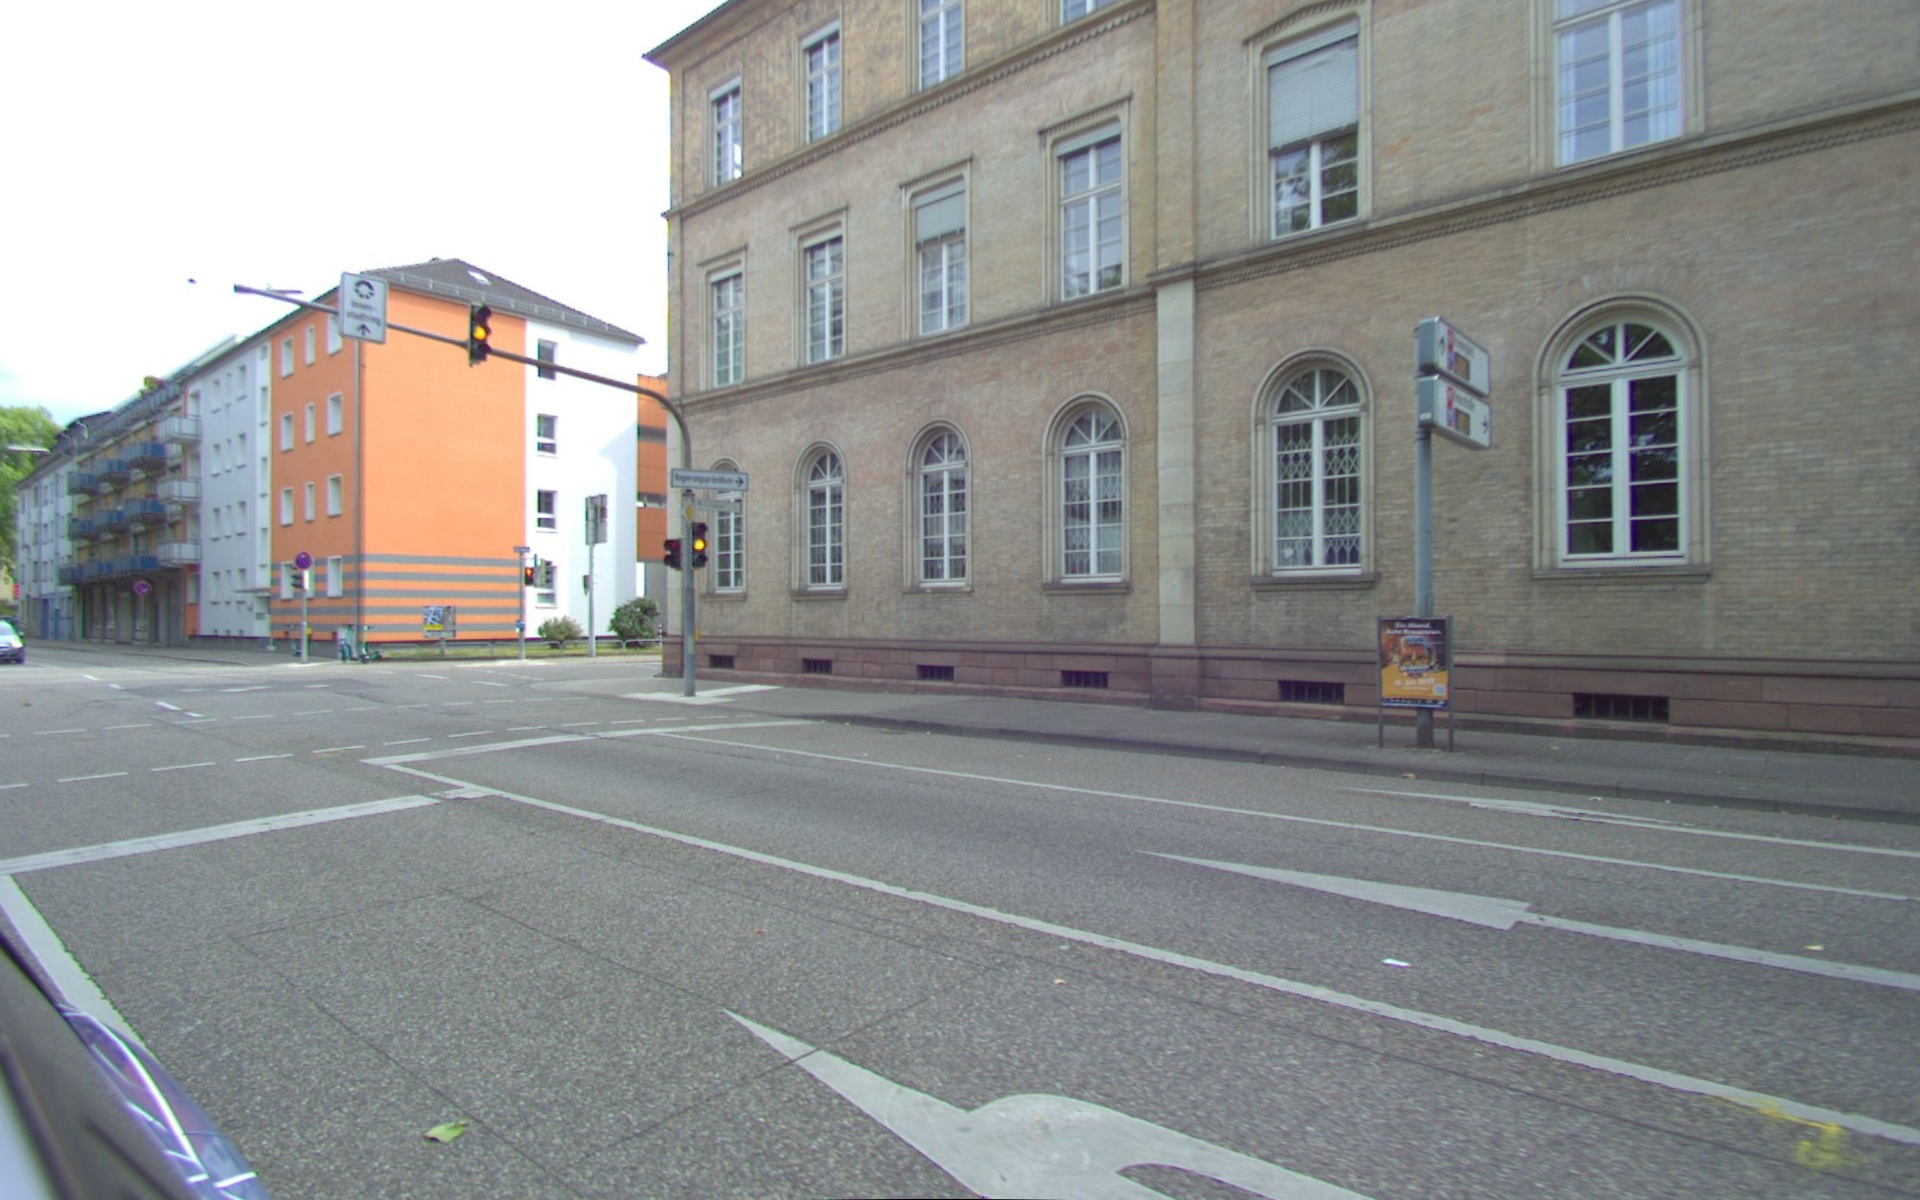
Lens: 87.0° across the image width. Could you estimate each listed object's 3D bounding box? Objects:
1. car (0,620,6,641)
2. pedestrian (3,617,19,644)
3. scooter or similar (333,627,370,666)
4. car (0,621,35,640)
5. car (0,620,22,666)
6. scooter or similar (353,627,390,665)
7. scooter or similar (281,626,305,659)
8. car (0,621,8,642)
[{"bbox_3d":[-93.882,3.001,96.534,1.998,2.029,3.947,-2,0,40],"label":"car"},{"bbox_3d":[-72.834,2.307,77.630,0.875,2.029,0.831,-2,0,45],"label":"pedestrian"},{"bbox_3d":[-18.860,1.442,31.356,1.336,1.188,0.327,-2,0,28],"label":"scooter or similar"},{"bbox_3d":[-87.246,2.808,92.456,1.881,1.701,3.822,-2,0,40],"label":"car"},{"bbox_3d":[-32.430,1.413,33.455,3.817,1.449,1.651,-2,-2,40],"label":"car"},{"bbox_3d":[-18.611,1.464,31.980,1.347,1.166,0.327,-2,0,28],"label":"scooter or similar"},{"bbox_3d":[-23.689,1.504,35.946,1.353,1.132,0.364,-2,0,41],"label":"scooter or similar"},{"bbox_3d":[-92.001,3.015,94.730,1.998,2.029,3.947,-2,0,40],"label":"car"}]
